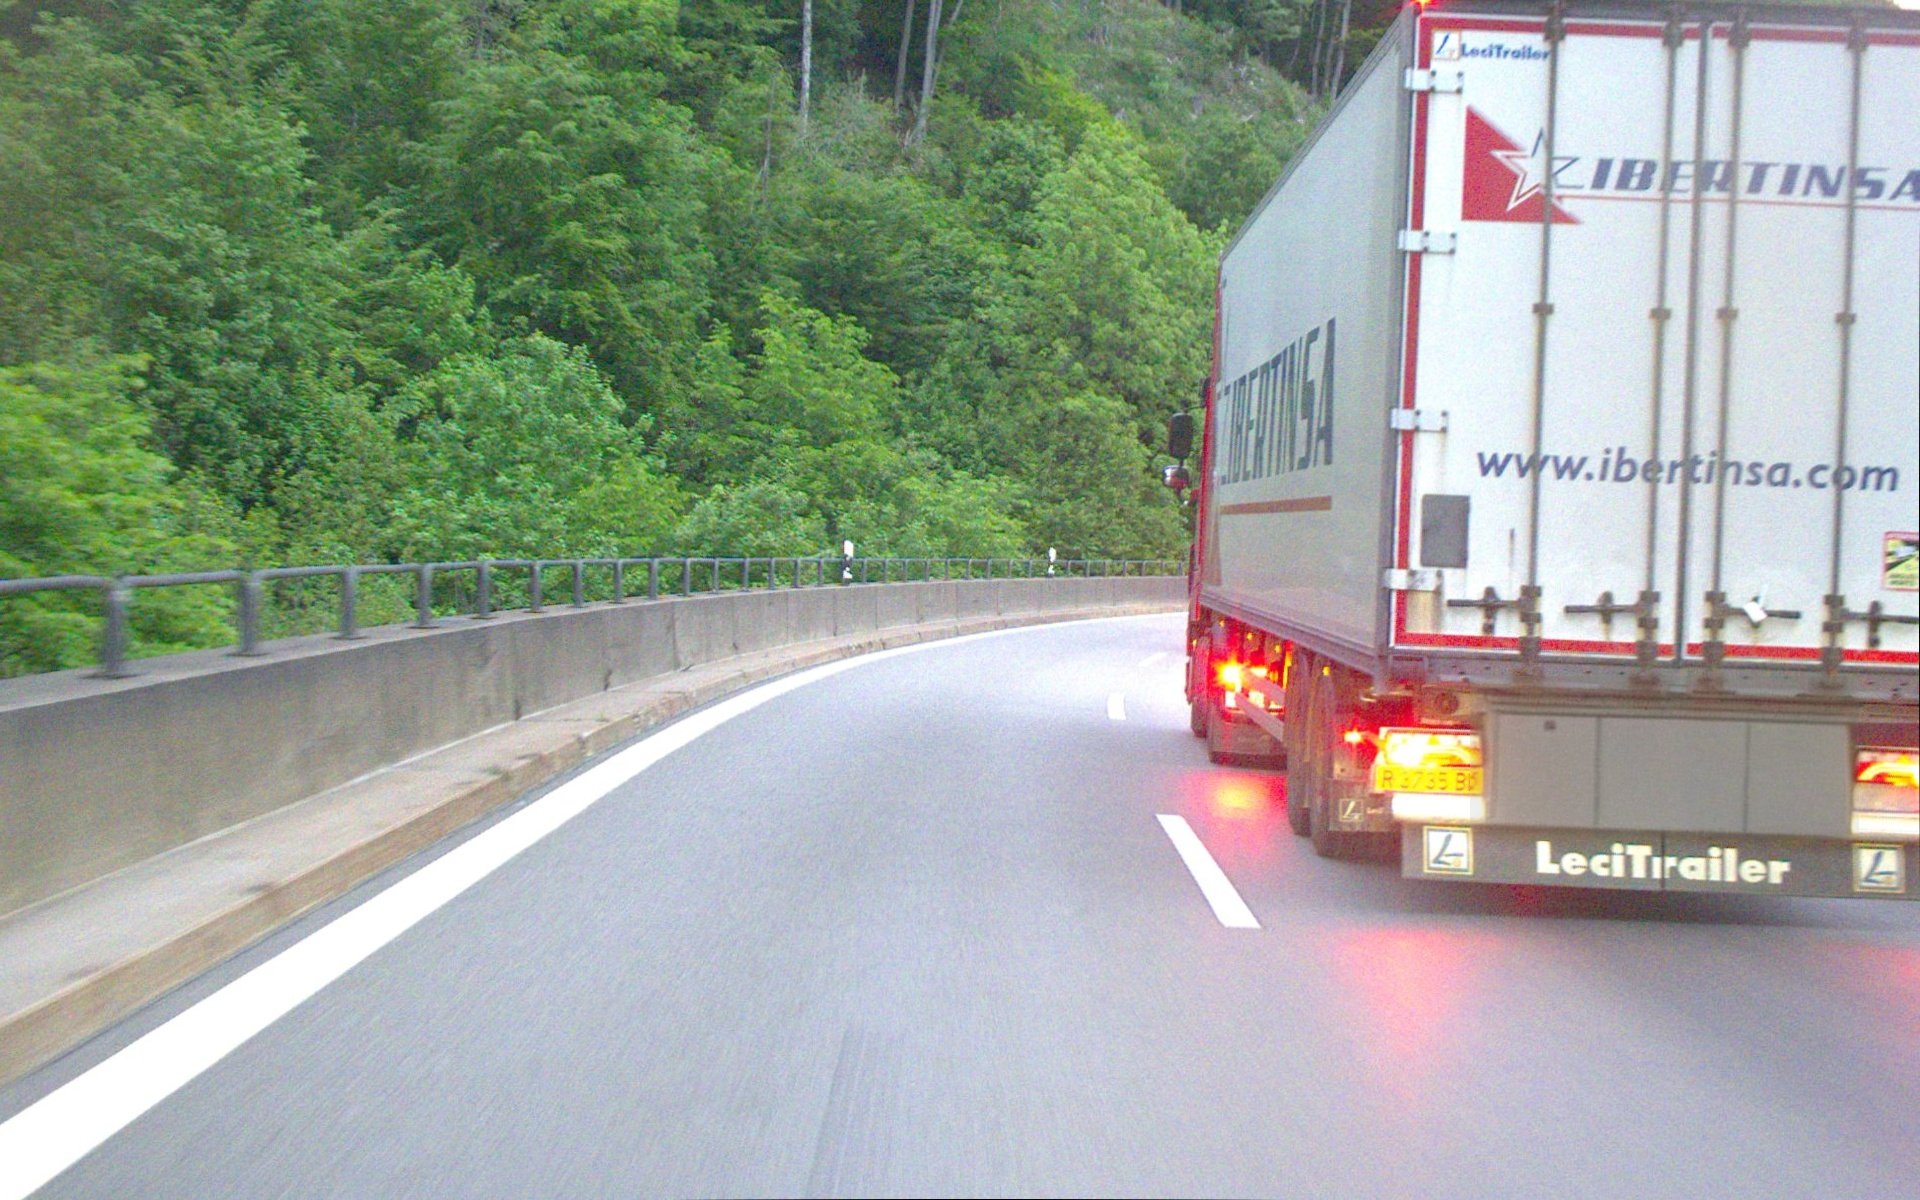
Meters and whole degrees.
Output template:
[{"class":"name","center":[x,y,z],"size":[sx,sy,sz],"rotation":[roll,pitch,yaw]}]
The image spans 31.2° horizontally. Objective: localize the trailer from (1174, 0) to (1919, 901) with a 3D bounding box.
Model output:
[{"class":"trailer","center":[3.314,-0.778,21.123],"size":[3.097,3.957,14.217],"rotation":[2,0,0]}]

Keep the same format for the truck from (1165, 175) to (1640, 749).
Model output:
[{"class":"truck","center":[3.416,-1.040,28.271],"size":[3.069,4.130,6.447],"rotation":[-1,1,1]}]
